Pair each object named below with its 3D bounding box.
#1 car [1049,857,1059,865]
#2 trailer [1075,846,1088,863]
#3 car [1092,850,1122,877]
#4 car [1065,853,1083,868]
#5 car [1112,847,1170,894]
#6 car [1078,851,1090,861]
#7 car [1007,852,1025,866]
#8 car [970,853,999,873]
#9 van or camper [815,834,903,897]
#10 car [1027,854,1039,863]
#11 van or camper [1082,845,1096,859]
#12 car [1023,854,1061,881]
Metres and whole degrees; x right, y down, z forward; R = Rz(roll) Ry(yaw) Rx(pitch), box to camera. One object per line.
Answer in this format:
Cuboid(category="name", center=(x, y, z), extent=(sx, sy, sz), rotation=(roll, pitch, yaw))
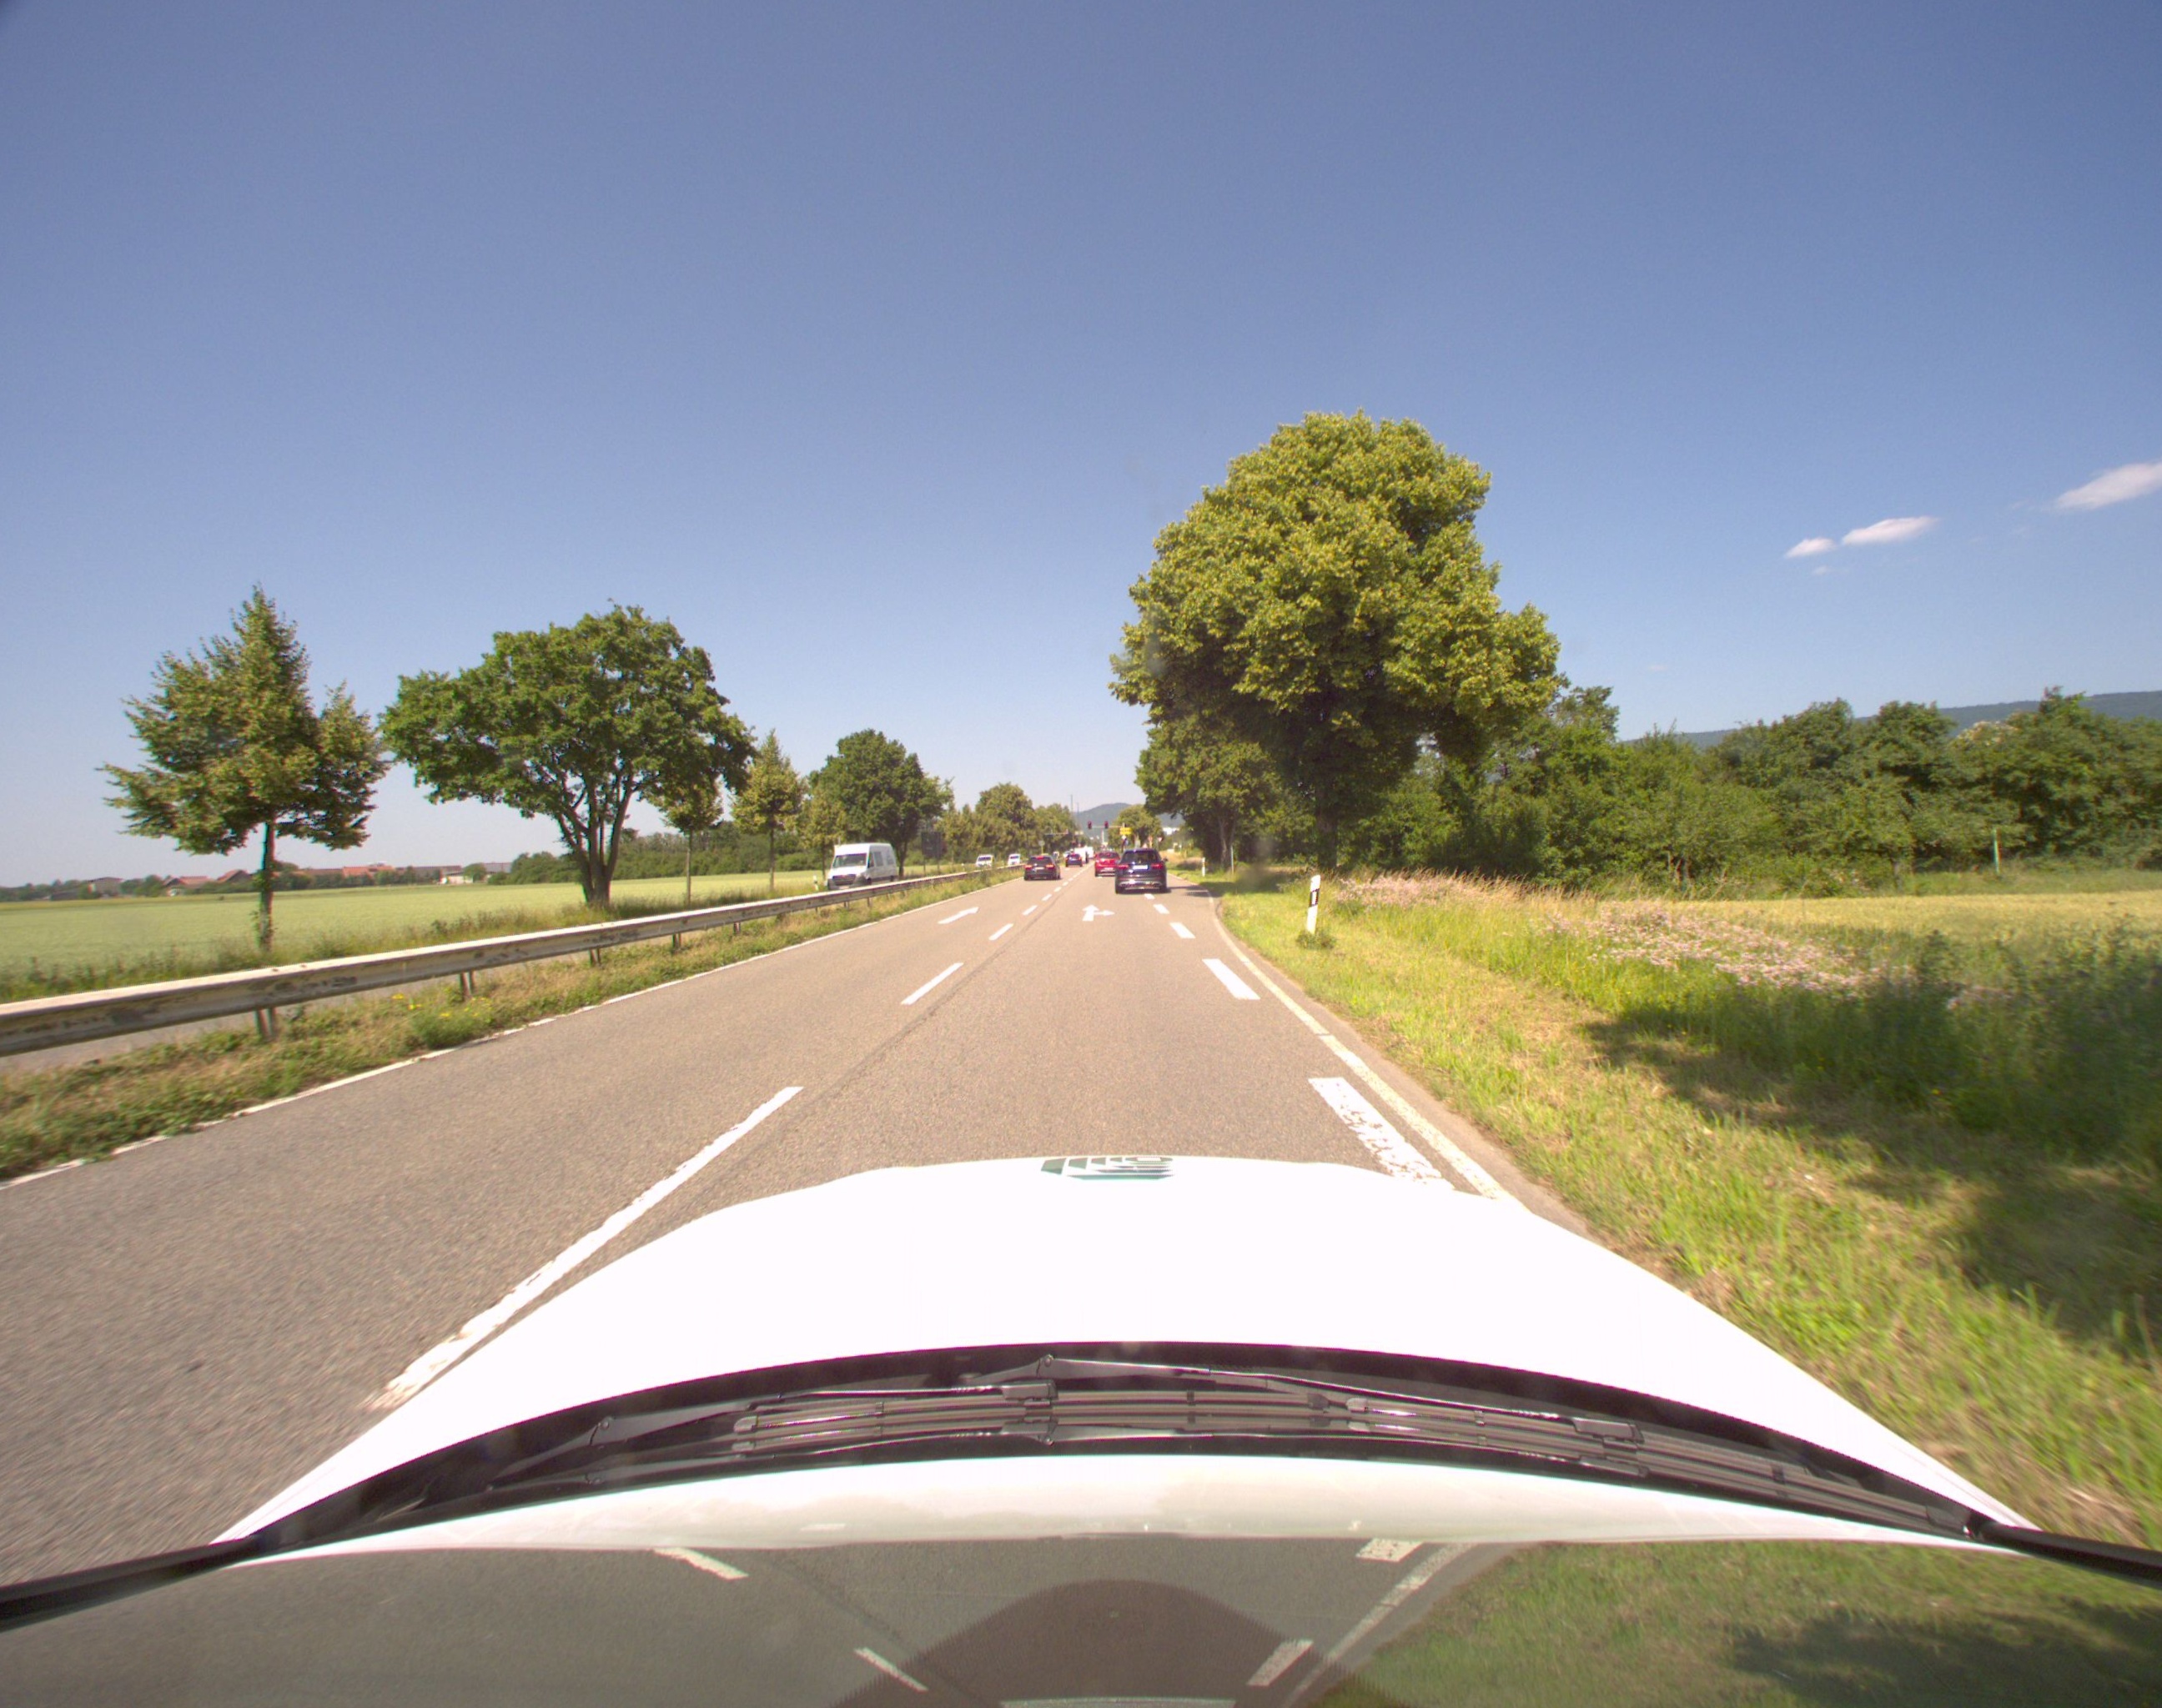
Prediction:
Cuboid(category="car", center=(-6.129, 1.587, 184.712), extent=(1.986, 1.662, 4.481), rotation=(-3, 0, 1))
Cuboid(category="trailer", center=(0.056, 0.022, 106.670), extent=(1.495, 2.173, 4.175), rotation=(-1, 0, 1))
Cuboid(category="car", center=(1.653, 0.572, 51.228), extent=(1.742, 1.575, 3.680), rotation=(-1, 0, 3))
Cuboid(category="car", center=(-0.744, 0.692, 86.499), extent=(1.711, 1.465, 4.031), rotation=(-3, 0, 2))
Cuboid(category="car", center=(2.206, 0.563, 30.543), extent=(1.985, 1.616, 4.343), rotation=(-1, 0, 3))
Cuboid(category="car", center=(0.421, 0.331, 132.261), extent=(1.717, 1.600, 3.958), rotation=(-3, 0, 2))
Cuboid(category="car", center=(-9.728, 0.789, 121.730), extent=(1.985, 1.960, 4.931), rotation=(-3, 0, 3))
Cuboid(category="car", center=(-10.273, 0.962, 86.965), extent=(2.028, 2.013, 4.539), rotation=(-3, 0, 5))
Cuboid(category="van or camper", center=(-11.556, 0.555, 43.091), extent=(2.376, 2.948, 7.095), rotation=(-3, 0, 2))
Cuboid(category="car", center=(-9.068, 0.905, 154.586), extent=(1.986, 1.662, 4.481), rotation=(-2, 0, 1))
Cuboid(category="van or camper", center=(1.451, -0.283, 142.424), extent=(2.170, 2.302, 4.830), rotation=(-3, 0, 3))
Cuboid(category="car", center=(-2.166, 0.737, 46.252), extent=(1.734, 1.380, 4.457), rotation=(-3, 0, 2))
